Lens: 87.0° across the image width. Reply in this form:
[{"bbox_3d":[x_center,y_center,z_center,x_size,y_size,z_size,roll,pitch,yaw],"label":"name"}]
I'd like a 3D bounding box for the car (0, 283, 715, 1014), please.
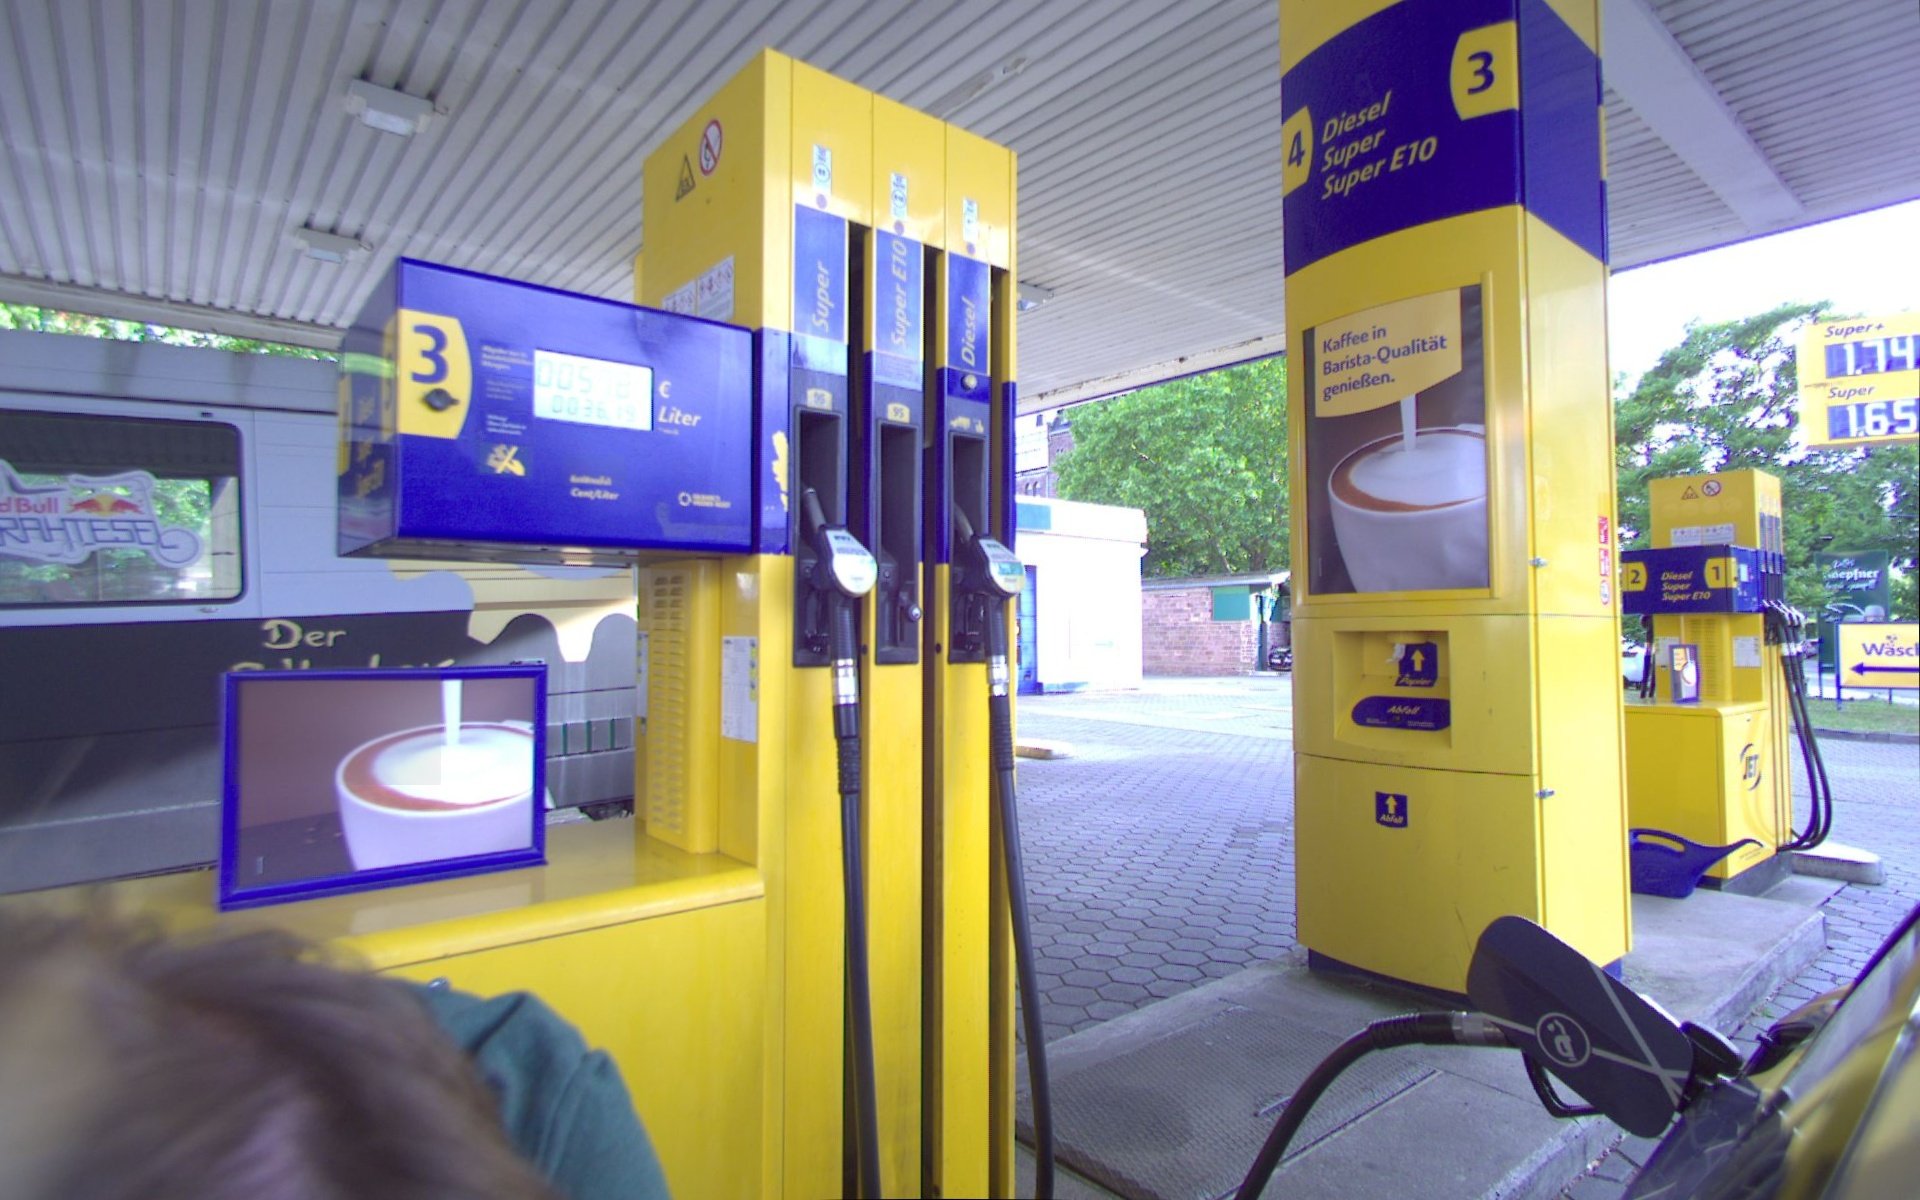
[{"bbox_3d":[-4.097,0.191,4.864,5.248,2.760,2.201,0,-1,-39],"label":"car"}]

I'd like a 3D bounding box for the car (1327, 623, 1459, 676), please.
[{"bbox_3d":[13.782,1.567,32.178,4.112,1.606,1.826,2,-3,-31],"label":"car"}]

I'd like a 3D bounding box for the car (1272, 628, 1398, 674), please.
[{"bbox_3d":[12.643,1.698,34.042,4.112,1.453,1.826,2,-3,-31],"label":"car"}]

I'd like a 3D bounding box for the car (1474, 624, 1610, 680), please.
[{"bbox_3d":[17.771,1.576,30.860,4.112,1.606,1.826,2,-3,-31],"label":"car"}]

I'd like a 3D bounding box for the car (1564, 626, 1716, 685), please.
[{"bbox_3d":[18.254,1.485,27.144,4.112,1.478,1.826,2,-3,-31],"label":"car"}]

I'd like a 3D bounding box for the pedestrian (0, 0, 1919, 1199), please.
[{"bbox_3d":[-0.331,0.525,0.575,0.975,1.750,1.182,-2,1,-36],"label":"pedestrian"}]
